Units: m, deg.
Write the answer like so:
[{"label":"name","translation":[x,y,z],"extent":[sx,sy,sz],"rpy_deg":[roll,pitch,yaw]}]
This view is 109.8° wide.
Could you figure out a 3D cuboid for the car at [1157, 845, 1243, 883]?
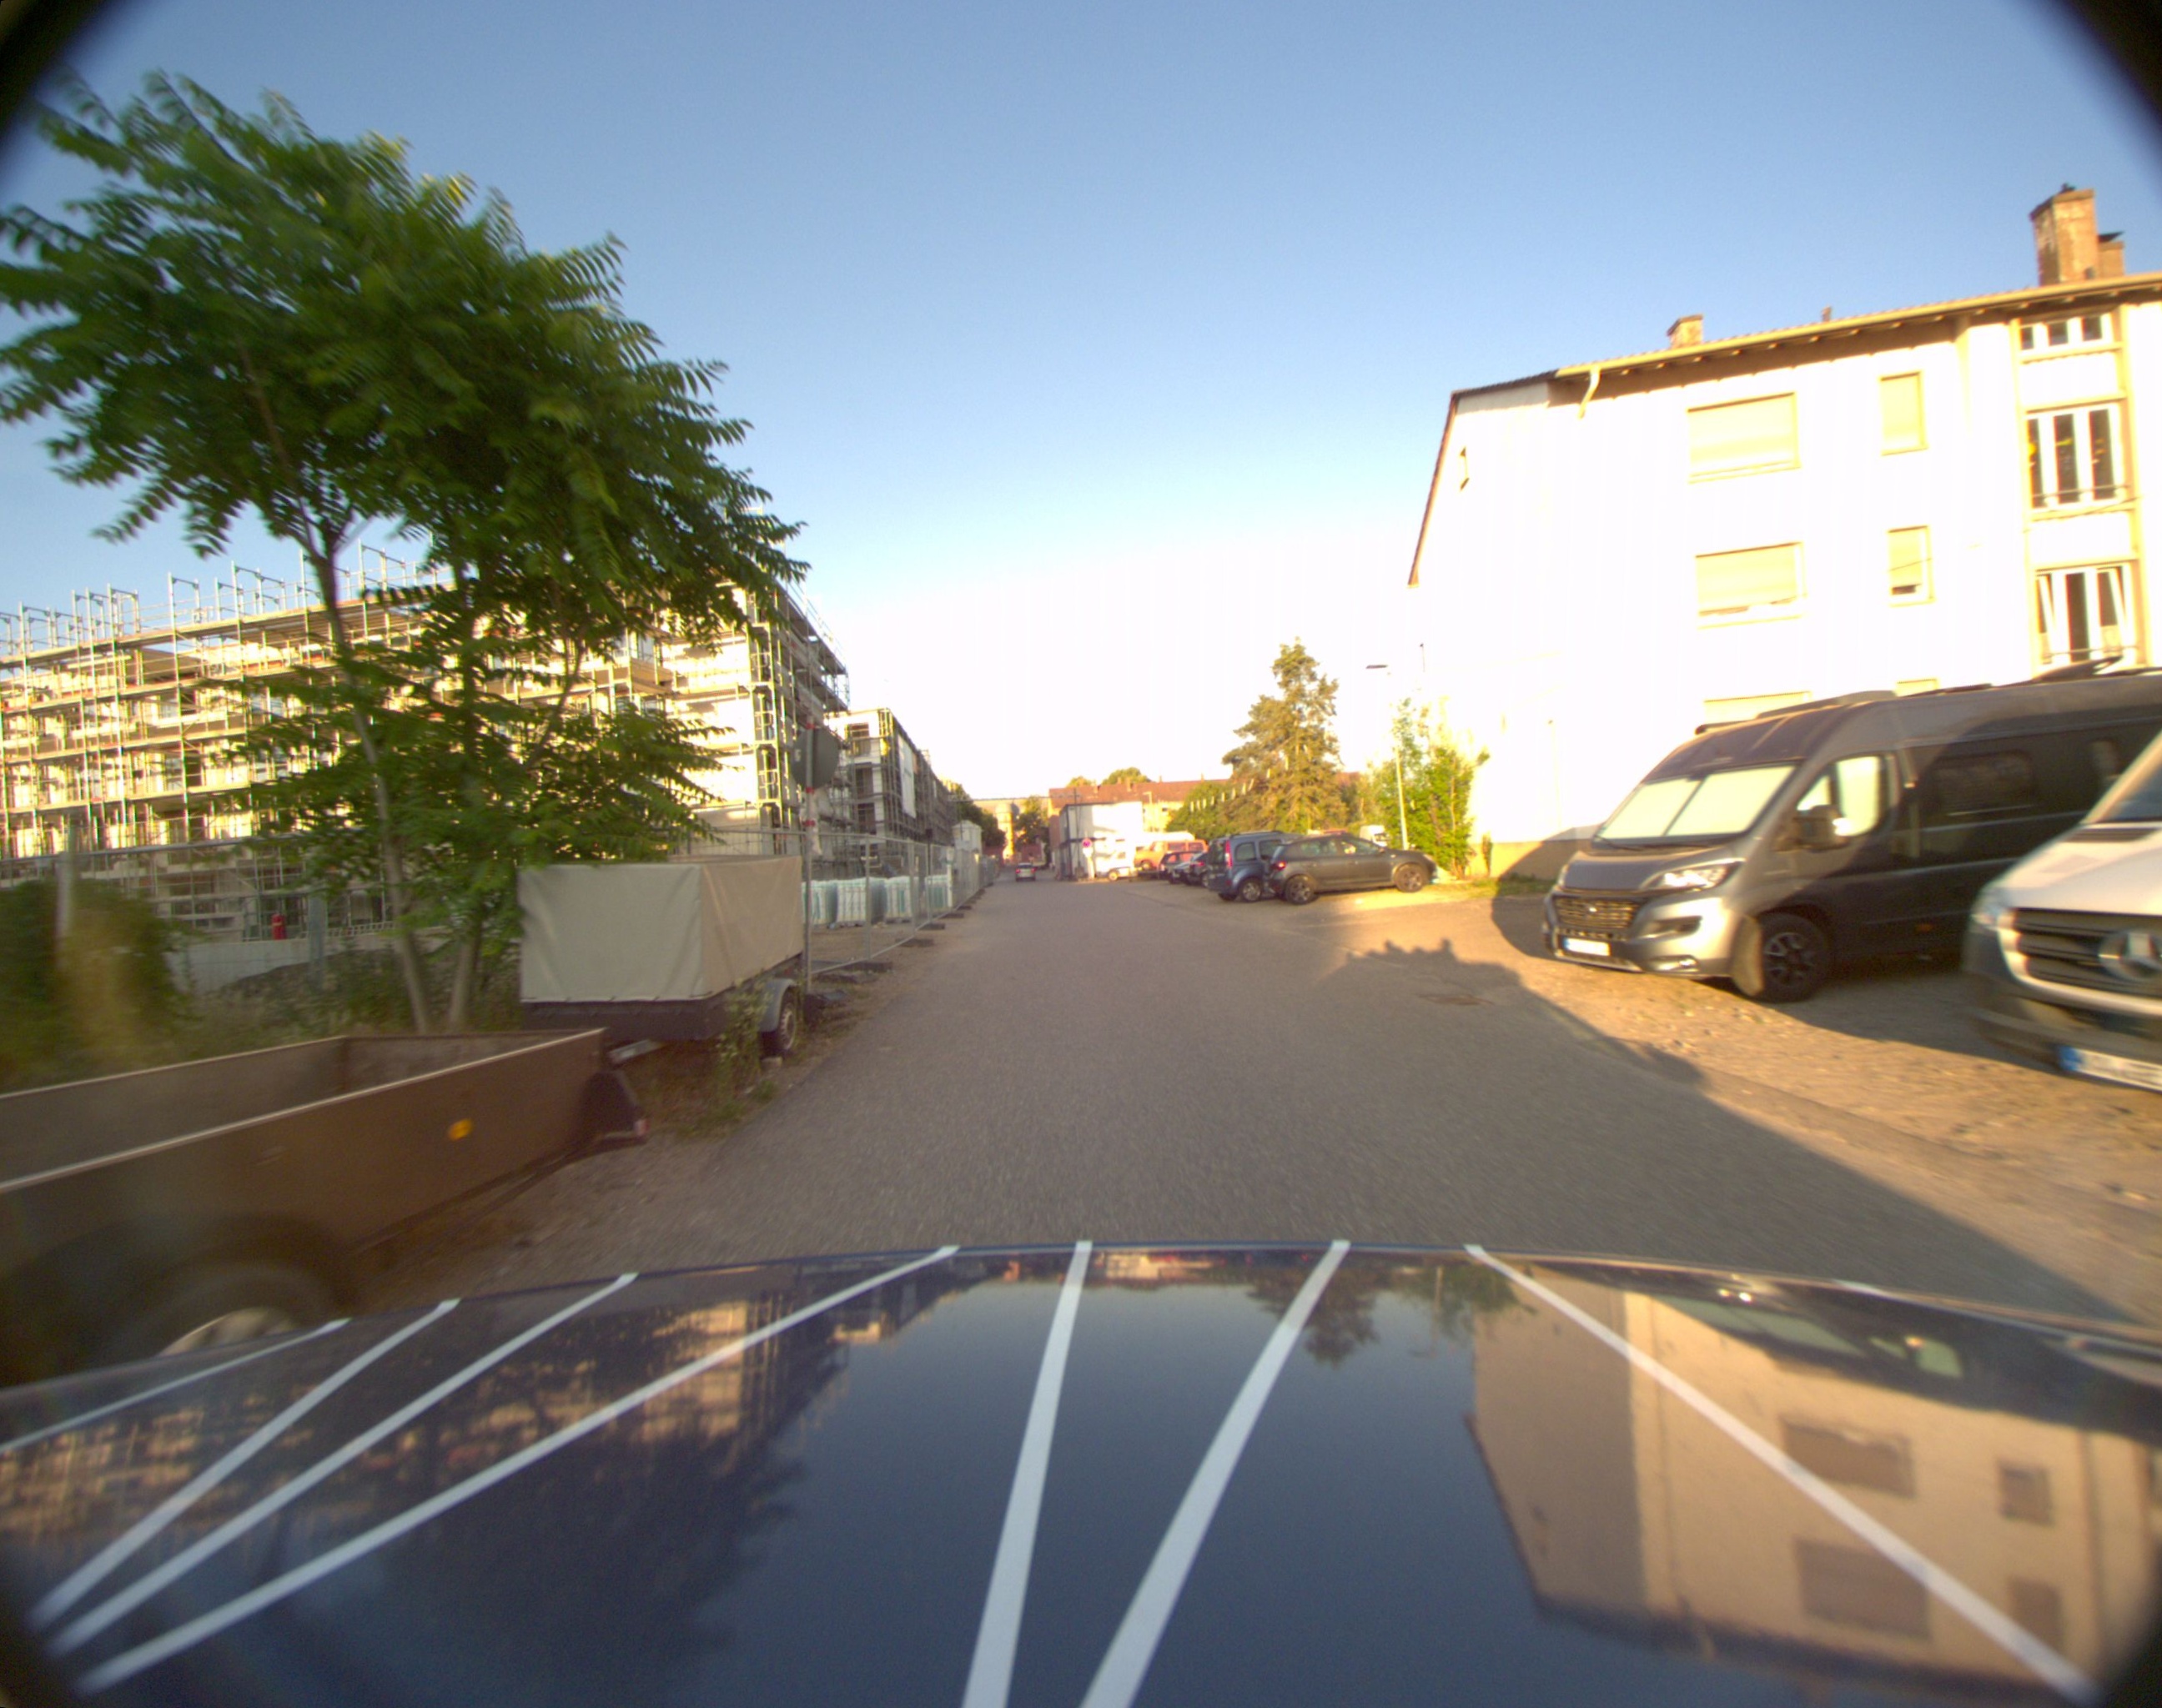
[{"label":"car","translation":[5.921,0.504,38.264],"extent":[4.045,1.610,1.850],"rpy_deg":[-4,0,5]}]

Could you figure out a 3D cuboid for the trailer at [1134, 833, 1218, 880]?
[{"label":"trailer","translation":[5.853,0.117,47.176],"extent":[4.803,2.419,2.134],"rpy_deg":[-5,2,2]}]

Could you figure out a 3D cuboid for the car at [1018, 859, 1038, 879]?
[{"label":"car","translation":[-4.762,1.325,68.380],"extent":[1.675,1.610,4.284],"rpy_deg":[-4,0,-4]}]

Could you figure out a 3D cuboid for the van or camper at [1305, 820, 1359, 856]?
[{"label":"van or camper","translation":[21.022,-1.311,64.041],"extent":[2.262,2.754,5.798],"rpy_deg":[-4,0,-2]}]

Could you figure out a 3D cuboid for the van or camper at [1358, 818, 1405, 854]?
[{"label":"van or camper","translation":[24.737,-1.433,62.818],"extent":[2.207,2.692,5.751],"rpy_deg":[-4,0,8]}]

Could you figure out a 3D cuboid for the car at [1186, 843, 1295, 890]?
[{"label":"car","translation":[6.158,0.456,29.658],"extent":[3.934,1.508,1.643],"rpy_deg":[-4,1,5]}]

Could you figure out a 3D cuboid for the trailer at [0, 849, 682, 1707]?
[{"label":"trailer","translation":[-2.860,0.902,1.105],"extent":[1.735,1.767,4.937],"rpy_deg":[-2,0,2]}]

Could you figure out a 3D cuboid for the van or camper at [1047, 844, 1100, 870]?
[{"label":"van or camper","translation":[-1.019,0.437,97.339],"extent":[6.472,2.625,2.406],"rpy_deg":[-6,0,-3]}]

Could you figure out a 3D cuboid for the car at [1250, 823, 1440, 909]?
[{"label":"car","translation":[6.332,0.284,18.571],"extent":[3.934,1.642,1.748],"rpy_deg":[-6,0,3]}]

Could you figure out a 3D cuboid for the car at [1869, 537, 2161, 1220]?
[{"label":"car","translation":[7.141,-0.146,2.981],"extent":[5.841,2.697,2.050],"rpy_deg":[-6,0,-1]}]

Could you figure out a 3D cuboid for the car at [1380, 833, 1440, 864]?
[{"label":"car","translation":[19.638,-0.313,45.566],"extent":[1.848,1.659,3.938],"rpy_deg":[-4,0,1]}]

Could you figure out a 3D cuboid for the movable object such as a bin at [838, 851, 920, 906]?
[{"label":"movable object such as a bin","translation":[-9.533,1.061,36.757],"extent":[2.071,2.260,8.365],"rpy_deg":[-3,0,-3]}]

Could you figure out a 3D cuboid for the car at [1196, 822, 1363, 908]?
[{"label":"car","translation":[5.439,0.286,21.002],"extent":[3.939,1.900,1.746],"rpy_deg":[-6,0,-12]}]

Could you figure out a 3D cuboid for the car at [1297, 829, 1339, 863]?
[{"label":"car","translation":[16.777,-0.525,53.973],"extent":[1.847,2.135,4.826],"rpy_deg":[-4,-2,7]}]

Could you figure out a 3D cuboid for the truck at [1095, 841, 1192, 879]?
[{"label":"truck","translation":[4.050,0.374,49.986],"extent":[6.027,2.031,2.355],"rpy_deg":[-4,0,-2]}]

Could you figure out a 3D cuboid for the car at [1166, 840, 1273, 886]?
[{"label":"car","translation":[5.834,0.406,32.267],"extent":[4.100,1.617,1.821],"rpy_deg":[-4,-2,-2]}]

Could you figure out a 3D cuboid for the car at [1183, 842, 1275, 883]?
[{"label":"car","translation":[6.841,0.417,35.457],"extent":[3.934,1.511,1.810],"rpy_deg":[-5,-1,5]}]

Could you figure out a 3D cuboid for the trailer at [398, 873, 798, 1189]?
[{"label":"trailer","translation":[-3.231,1.029,5.681],"extent":[1.254,1.655,2.802],"rpy_deg":[-2,0,-3]}]

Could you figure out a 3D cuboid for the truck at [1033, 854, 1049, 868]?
[{"label":"truck","translation":[-6.807,1.190,128.987],"extent":[1.843,2.089,3.737],"rpy_deg":[-6,1,-11]}]

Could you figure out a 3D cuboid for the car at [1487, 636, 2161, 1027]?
[{"label":"car","translation":[7.609,-0.328,7.161],"extent":[6.406,2.698,2.112],"rpy_deg":[-6,2,-5]}]
